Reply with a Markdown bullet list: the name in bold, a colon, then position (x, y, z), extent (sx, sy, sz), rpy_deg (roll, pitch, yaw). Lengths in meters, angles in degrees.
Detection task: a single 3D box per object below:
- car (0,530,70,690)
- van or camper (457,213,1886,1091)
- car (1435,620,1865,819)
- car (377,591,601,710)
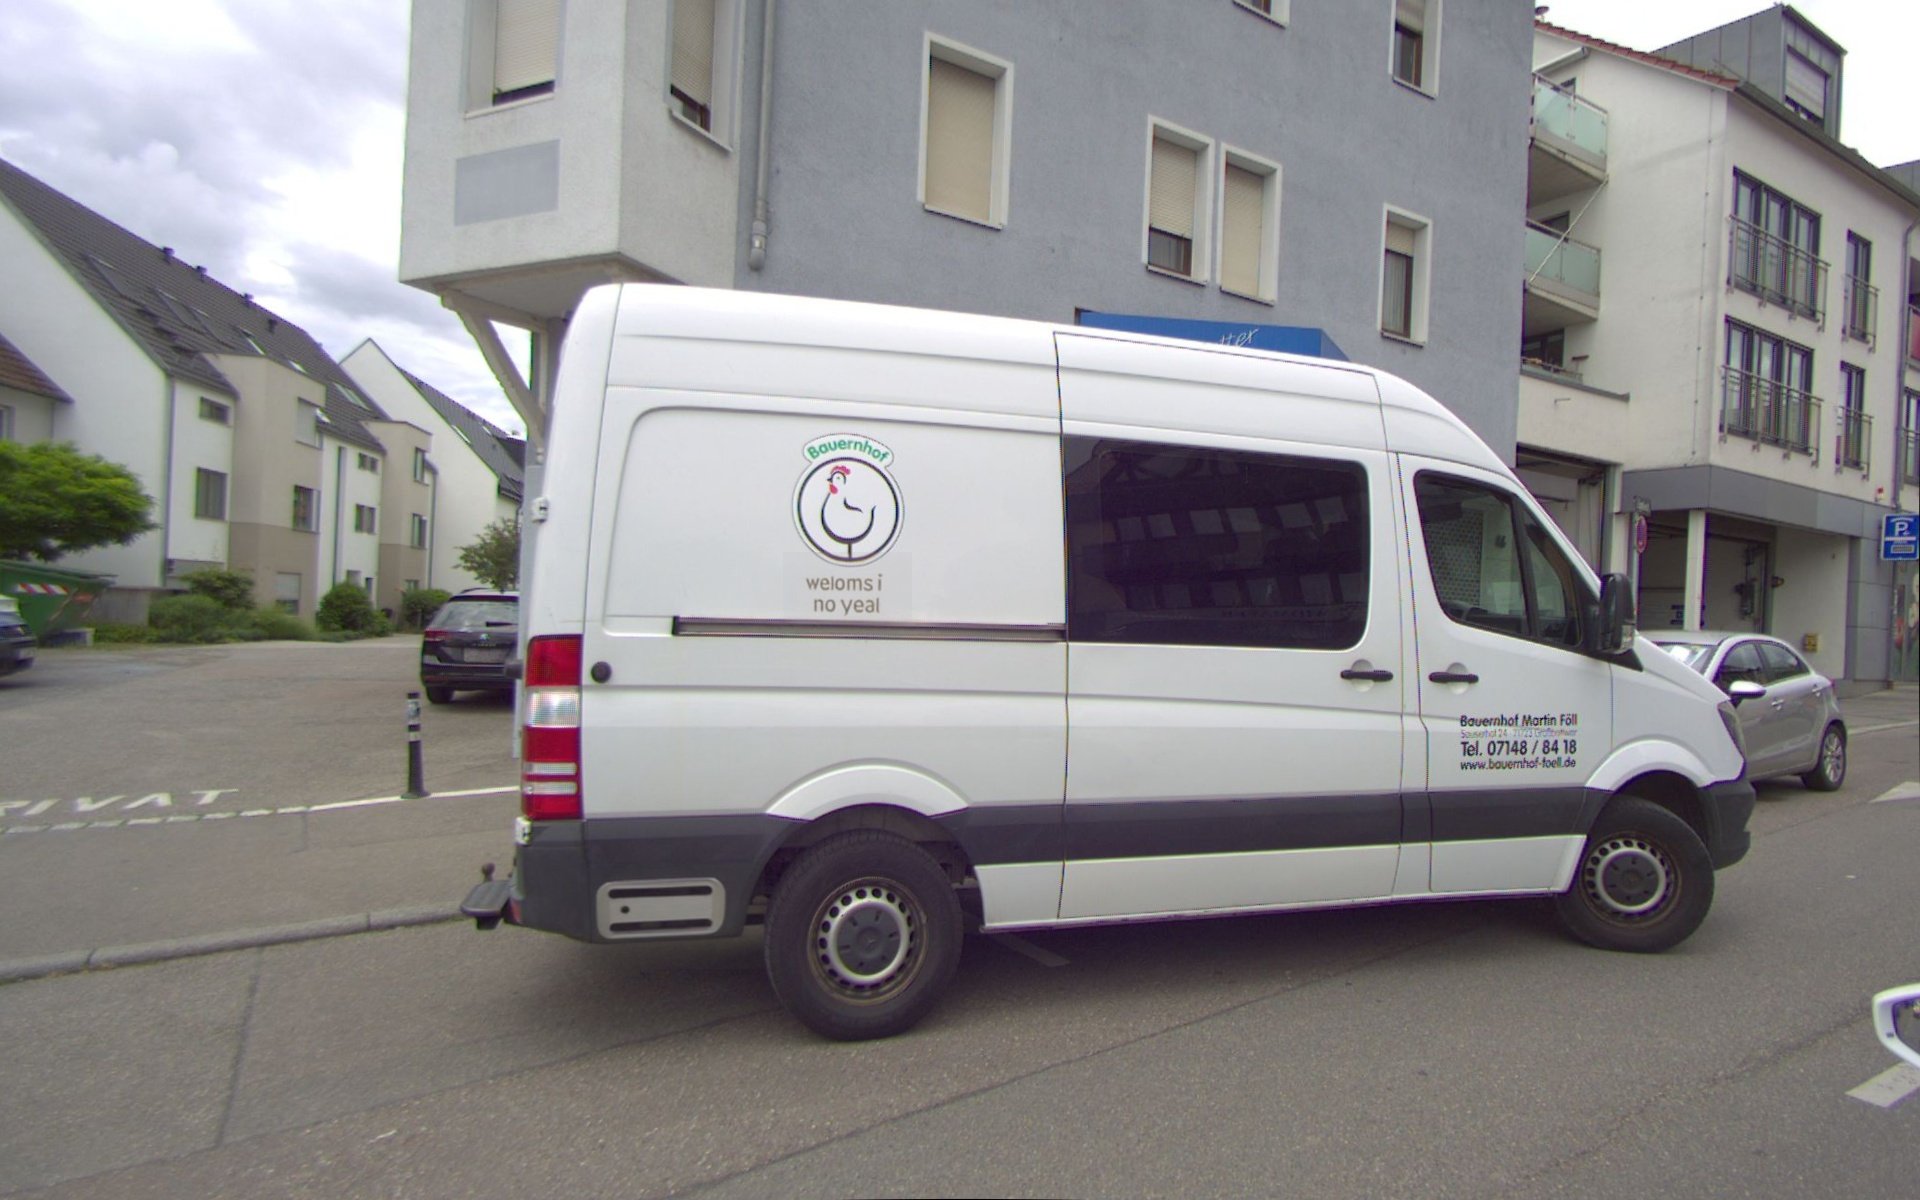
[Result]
- **car**: position (-14.009, 0.083, 12.078), extent (4.558, 1.934, 1.829), rpy_deg (1, -1, -25)
- **van or camper**: position (1.127, 0.223, 5.007), extent (6.106, 2.642, 2.319), rpy_deg (1, 0, -16)
- **car**: position (6.359, 0.935, 9.179), extent (3.955, 1.430, 1.788), rpy_deg (1, -1, -31)
- **car**: position (-6.145, 0.611, 13.610), extent (1.691, 1.370, 3.993), rpy_deg (1, -1, -9)
